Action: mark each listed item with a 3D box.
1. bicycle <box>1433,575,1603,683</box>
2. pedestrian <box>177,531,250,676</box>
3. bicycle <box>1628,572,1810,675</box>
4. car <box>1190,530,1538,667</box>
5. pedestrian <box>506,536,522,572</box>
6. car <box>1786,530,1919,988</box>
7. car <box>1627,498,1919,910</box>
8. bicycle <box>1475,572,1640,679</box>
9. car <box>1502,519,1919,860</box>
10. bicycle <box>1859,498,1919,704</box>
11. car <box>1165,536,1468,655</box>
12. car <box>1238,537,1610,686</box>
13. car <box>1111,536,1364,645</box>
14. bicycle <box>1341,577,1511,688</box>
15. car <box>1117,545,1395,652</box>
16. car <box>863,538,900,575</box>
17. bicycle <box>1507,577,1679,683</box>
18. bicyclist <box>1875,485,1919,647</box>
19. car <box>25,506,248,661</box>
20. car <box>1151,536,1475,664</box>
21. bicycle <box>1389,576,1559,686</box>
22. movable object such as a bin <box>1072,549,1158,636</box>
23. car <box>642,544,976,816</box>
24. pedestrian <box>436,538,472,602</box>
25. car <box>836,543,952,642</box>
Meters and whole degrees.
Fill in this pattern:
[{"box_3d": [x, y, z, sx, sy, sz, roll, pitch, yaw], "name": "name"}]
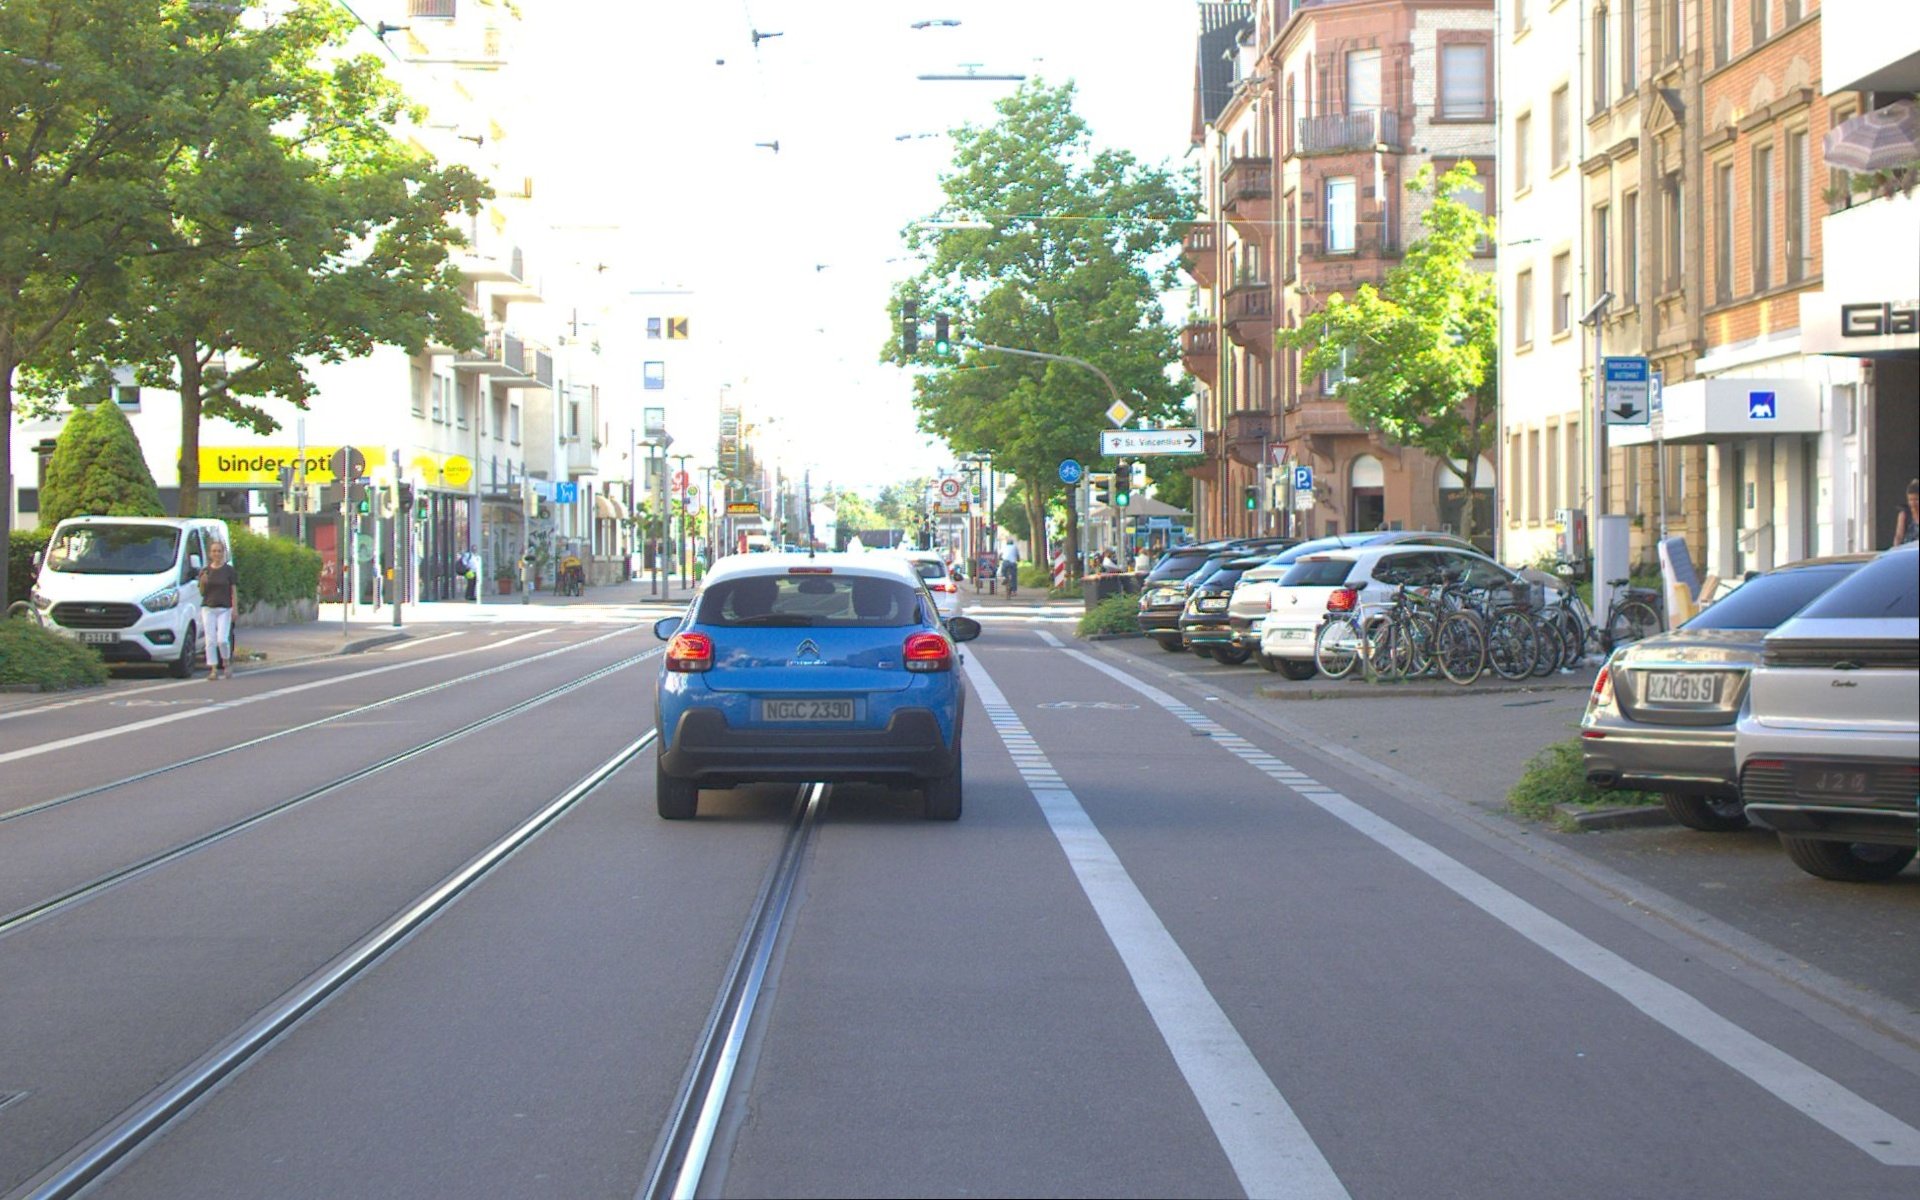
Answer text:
[{"box_3d": [5.598, 0.281, 34.595, 0.553, 1.044, 1.807, 0, 1, -36], "name": "bicycle"}, {"box_3d": [-8.924, 0.042, 41.093, 0.729, 1.720, 0.628, 0, 0, -25], "name": "pedestrian"}, {"box_3d": [7.980, 0.236, 36.197, 1.806, 1.044, 0.553, 1, 1, 40], "name": "bicycle"}, {"box_3d": [4.804, -0.018, 40.976, 3.653, 1.568, 1.861, 0, 1, -20], "name": "car"}, {"box_3d": [-15.028, -1.548, 115.863, 0.381, 1.211, 0.438, -1, 1, -38], "name": "pedestrian"}, {"box_3d": [4.865, 0.549, 12.282, 3.441, 1.550, 1.824, 0, 1, -32], "name": "car"}, {"box_3d": [5.055, 0.413, 15.273, 3.718, 1.646, 2.048, 0, 1, -33], "name": "car"}, {"box_3d": [6.056, 0.245, 34.925, 0.468, 1.044, 1.807, 0, 1, -37], "name": "bicycle"}, {"box_3d": [4.688, 0.419, 18.145, 3.442, 1.634, 1.684, 0, 1, -37], "name": "car"}, {"box_3d": [9.669, 0.000, 34.707, 0.728, 2.007, 2.358, 1, 1, 5], "name": "bicycle"}, {"box_3d": [4.858, -0.061, 46.958, 3.653, 1.568, 1.861, 0, 1, -20], "name": "car"}, {"box_3d": [5.112, 0.114, 37.838, 3.653, 1.568, 1.861, 0, 1, -29], "name": "car"}, {"box_3d": [4.500, -0.159, 55.817, 3.653, 1.709, 1.789, 0, 1, -20], "name": "car"}, {"box_3d": [4.577, 0.310, 33.853, 0.553, 1.044, 1.807, 0, 1, -36], "name": "bicycle"}, {"box_3d": [4.346, -0.020, 50.653, 3.653, 1.529, 1.789, 0, 1, -20], "name": "car"}, {"box_3d": [-3.074, -1.692, 134.999, 1.423, 1.427, 3.139, 1, 1, 0], "name": "car"}, {"box_3d": [6.496, 0.301, 35.351, 0.553, 1.044, 1.807, 0, 1, -39], "name": "bicycle"}, {"box_3d": [9.663, -0.345, 34.668, 0.732, 1.617, 0.528, 1, 0, 5], "name": "bicyclist"}, {"box_3d": [-10.293, -0.219, 43.242, 1.831, 1.841, 4.214, 1, 1, -1], "name": "car"}, {"box_3d": [4.504, -0.002, 43.980, 3.653, 1.568, 1.861, 0, 1, -20], "name": "car"}, {"box_3d": [5.101, 0.298, 34.213, 0.553, 1.044, 1.807, 0, 1, -36], "name": "bicycle"}, {"box_3d": [2.684, -0.134, 59.846, 1.394, 1.478, 1.655, 1, 1, -1], "name": "movable object such as a bin"}, {"box_3d": [-0.841, 0.408, 20.116, 1.762, 1.436, 3.557, 1, 1, -1], "name": "car"}, {"box_3d": [-14.001, -0.836, 95.139, 0.944, 1.745, 0.700, 1, 0, -5], "name": "pedestrian"}, {"box_3d": [-1.088, -0.146, 57.722, 1.873, 1.590, 4.000, 1, 1, 0], "name": "car"}]
